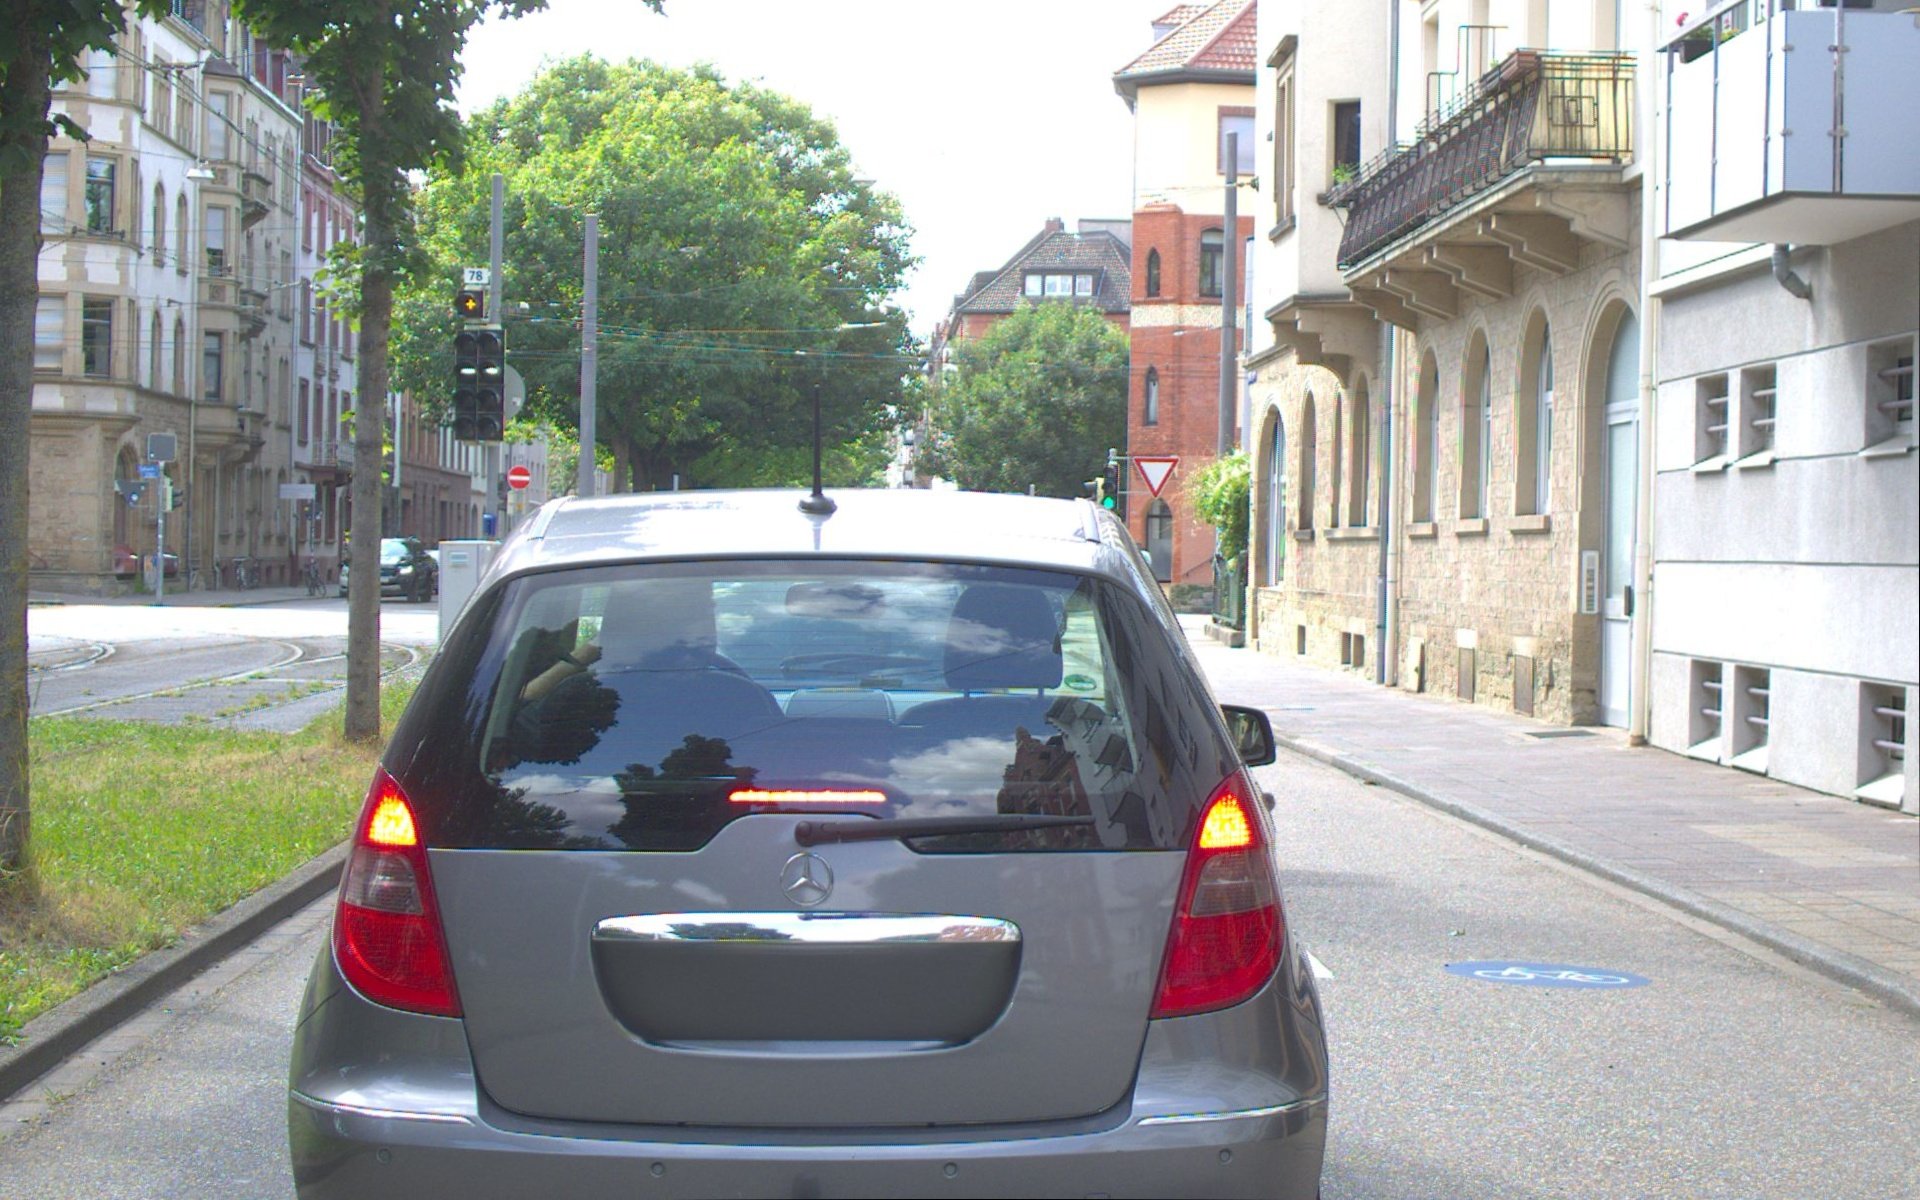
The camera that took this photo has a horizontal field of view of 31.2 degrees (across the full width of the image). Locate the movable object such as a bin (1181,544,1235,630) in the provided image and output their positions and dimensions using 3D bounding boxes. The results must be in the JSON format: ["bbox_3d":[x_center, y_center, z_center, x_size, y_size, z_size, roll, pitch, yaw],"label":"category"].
[{"bbox_3d":[4.288,-0.234,59.496,0.714,1.467,0.983,0,1,-10],"label":"movable object such as a bin"}]

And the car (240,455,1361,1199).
[{"bbox_3d":[-0.269,0.561,7.160,1.722,1.600,3.677,1,1,-1],"label":"car"}]

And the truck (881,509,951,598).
[{"bbox_3d":[-1.473,-1.577,116.908,2.123,2.960,4.000,1,1,2],"label":"truck"}]

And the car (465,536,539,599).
[{"bbox_3d":[-12.940,-0.931,97.229,1.993,1.722,4.001,0,1,-7],"label":"car"}]

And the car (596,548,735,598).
[{"bbox_3d":[-8.464,-0.780,98.581,1.969,1.334,3.999,1,1,-40],"label":"car"}]

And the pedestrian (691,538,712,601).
[{"bbox_3d":[-7.051,-0.837,93.755,0.493,1.719,0.654,1,1,-10],"label":"pedestrian"}]

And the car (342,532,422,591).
[{"bbox_3d":[-16.062,-1.075,95.689,1.993,1.612,4.001,0,1,-7],"label":"car"}]

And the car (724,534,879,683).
[{"bbox_3d":[-1.870,0.074,41.468,1.722,1.700,3.677,1,1,-1],"label":"car"}]
